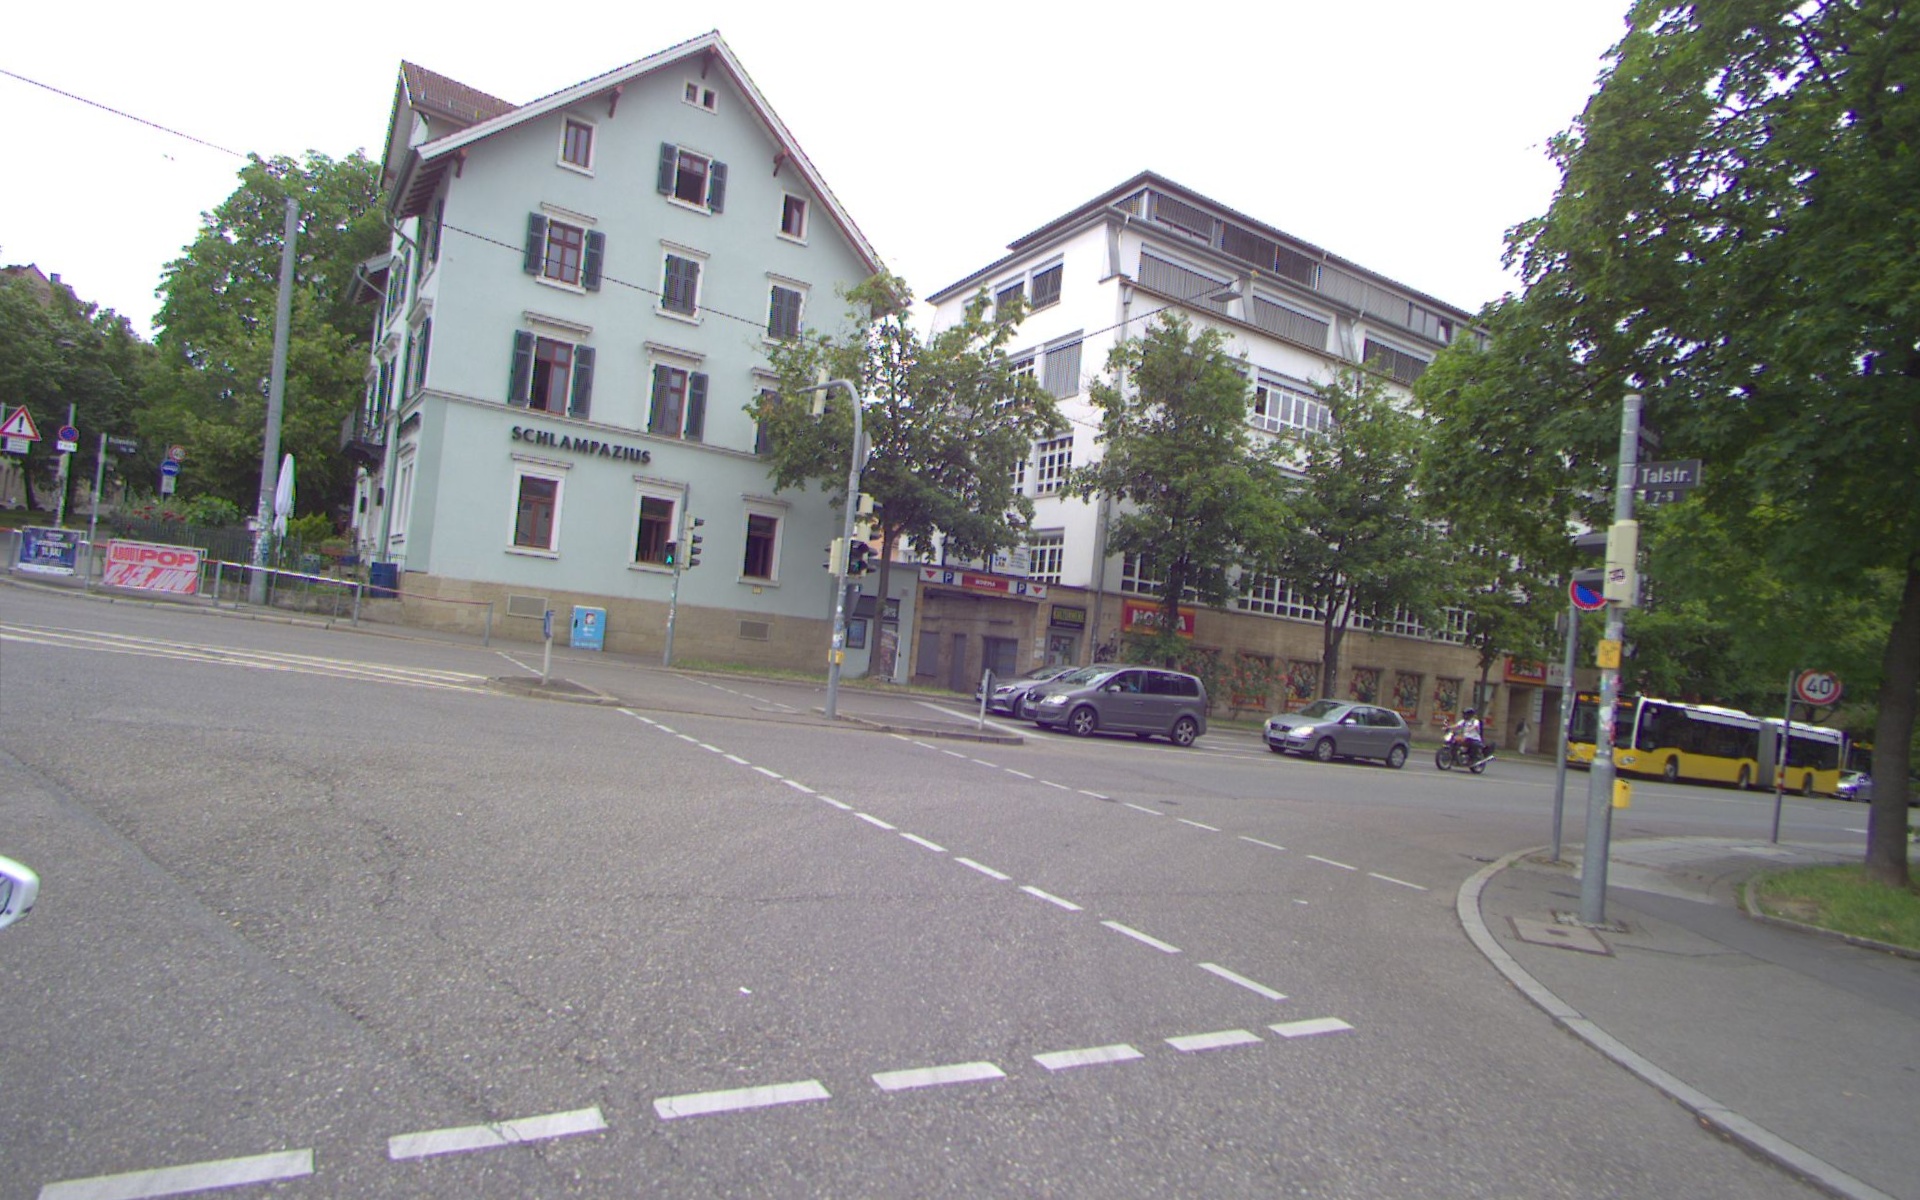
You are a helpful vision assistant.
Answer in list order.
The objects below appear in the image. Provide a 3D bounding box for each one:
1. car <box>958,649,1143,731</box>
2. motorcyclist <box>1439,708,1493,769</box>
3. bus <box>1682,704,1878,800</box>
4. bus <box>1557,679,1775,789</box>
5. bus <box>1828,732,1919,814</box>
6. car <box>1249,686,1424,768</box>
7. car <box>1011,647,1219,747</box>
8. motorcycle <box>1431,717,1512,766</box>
[{"bbox_3d":[2.250,2.223,24.885,4.146,1.440,1.701,9,-2,-24],"label":"car"},{"bbox_3d":[13.289,3.638,26.427,0.999,1.434,0.704,8,-1,-29],"label":"motorcyclist"},{"bbox_3d":[36.162,6.747,44.203,10.816,3.084,2.859,9,-2,-30],"label":"bus"},{"bbox_3d":[27.468,5.265,38.935,10.298,3.144,2.841,9,-2,-31],"label":"bus"},{"bbox_3d":[50.191,9.259,52.559,12.708,3.380,3.418,9,-2,-31],"label":"bus"},{"bbox_3d":[9.074,3.050,24.246,3.744,1.438,1.656,9,-2,-24],"label":"car"},{"bbox_3d":[3.421,2.137,22.171,4.146,1.656,1.702,9,-3,-24],"label":"car"},{"bbox_3d":[13.501,3.739,26.537,2.373,0.998,0.634,10,-2,-30],"label":"motorcycle"}]
